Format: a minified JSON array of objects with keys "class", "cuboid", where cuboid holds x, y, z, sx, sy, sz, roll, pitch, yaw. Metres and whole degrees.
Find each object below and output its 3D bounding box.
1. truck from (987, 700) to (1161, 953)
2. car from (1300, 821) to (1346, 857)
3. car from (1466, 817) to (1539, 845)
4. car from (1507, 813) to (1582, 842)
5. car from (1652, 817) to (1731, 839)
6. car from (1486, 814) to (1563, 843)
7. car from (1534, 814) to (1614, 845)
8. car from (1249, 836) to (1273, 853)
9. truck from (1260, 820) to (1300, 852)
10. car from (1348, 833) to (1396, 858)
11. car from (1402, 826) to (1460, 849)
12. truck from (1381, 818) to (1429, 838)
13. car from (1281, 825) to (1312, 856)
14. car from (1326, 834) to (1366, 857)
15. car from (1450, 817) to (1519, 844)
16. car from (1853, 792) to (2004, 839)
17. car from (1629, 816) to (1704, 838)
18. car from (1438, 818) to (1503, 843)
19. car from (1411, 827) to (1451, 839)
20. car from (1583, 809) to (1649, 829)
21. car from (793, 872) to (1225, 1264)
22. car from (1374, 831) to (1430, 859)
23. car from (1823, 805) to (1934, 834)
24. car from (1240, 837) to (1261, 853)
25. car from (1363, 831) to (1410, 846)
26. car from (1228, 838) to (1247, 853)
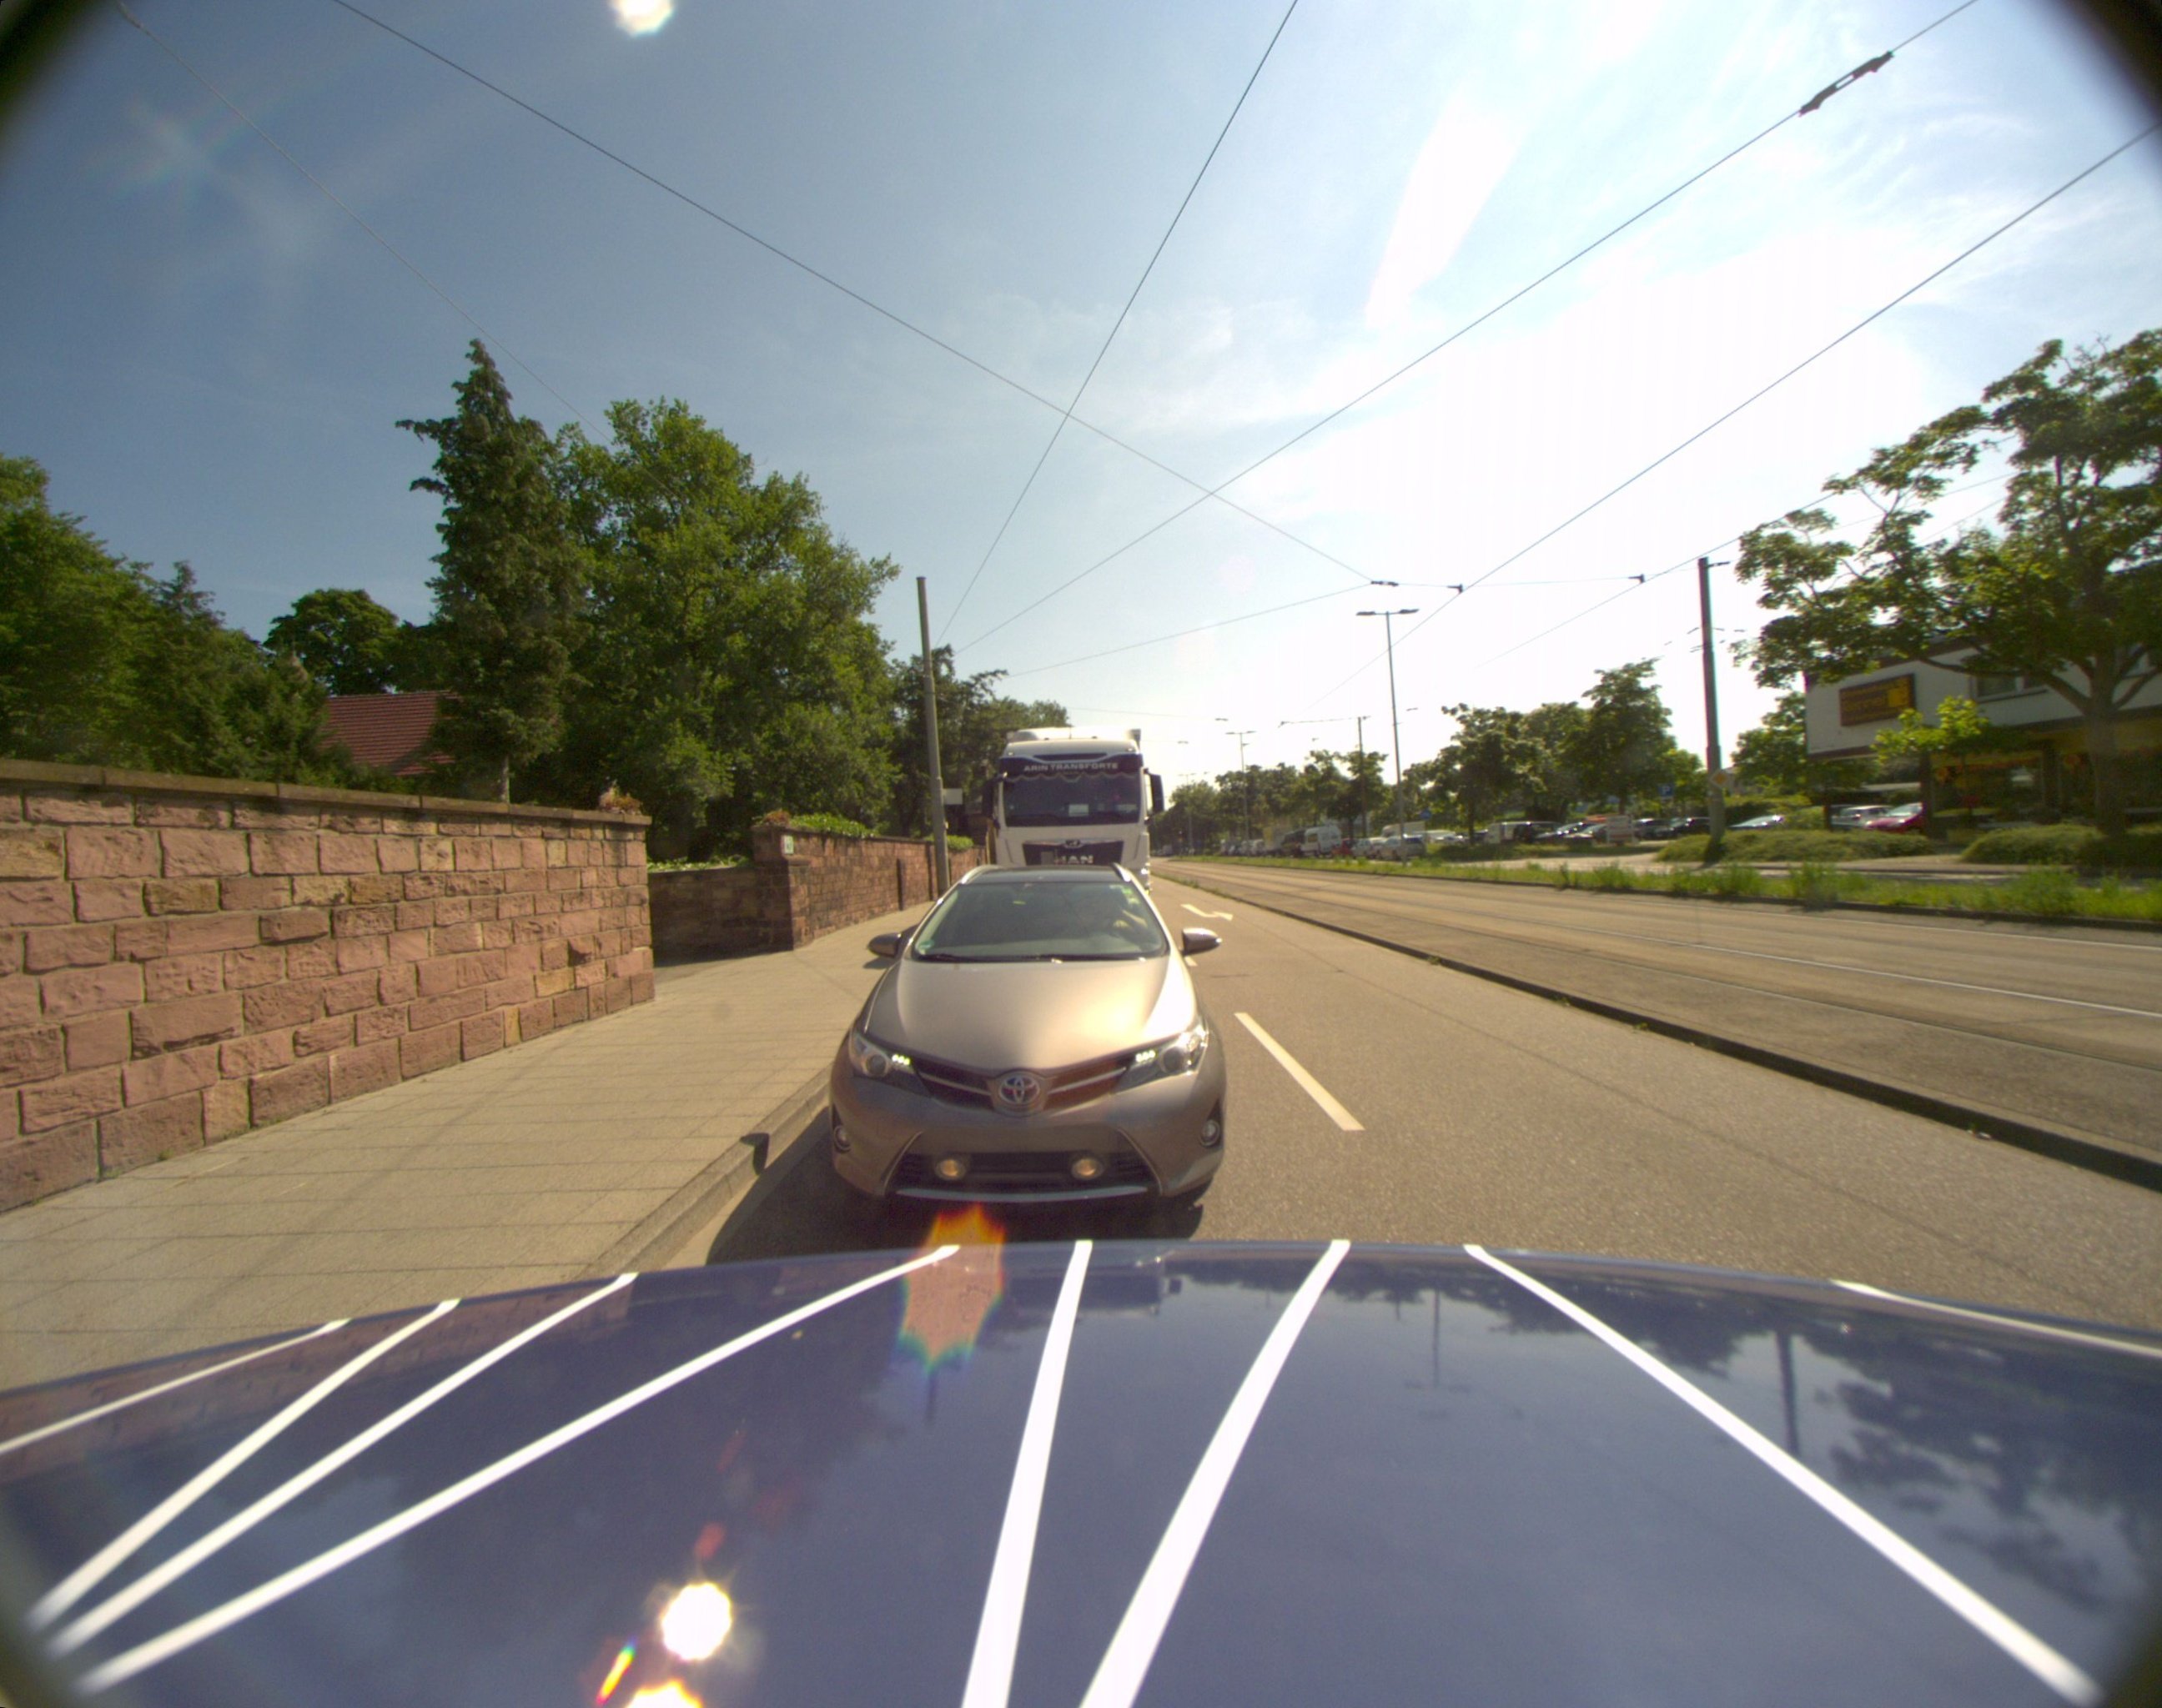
[{"class":"truck","cuboid":[-0.017,-0.483,16.596,2.628,3.906,9.285,-2,1,1]},{"class":"car","cuboid":[20.285,-1.224,63.989,2.062,2.638,5.203,-6,0,1]},{"class":"car","cuboid":[30.536,-1.681,55.138,4.117,1.728,1.990,-3,1,-2]},{"class":"car","cuboid":[30.582,-1.714,50.200,3.810,1.625,1.676,-3,1,2]},{"class":"car","cuboid":[44.054,-1.872,54.891,4.252,1.327,1.676,-3,0,2]},{"class":"car","cuboid":[30.696,-1.769,52.667,4.117,1.728,1.990,-3,1,-2]},{"class":"car","cuboid":[30.522,-1.486,47.116,3.810,1.625,1.676,-3,1,2]},{"class":"car","cuboid":[20.690,-1.052,87.371,1.502,1.793,4.633,-6,0,1]},{"class":"truck","cuboid":[20.580,-1.847,78.790,2.508,2.917,5.903,-6,0,2]},{"class":"car","cuboid":[20.464,-0.610,53.616,1.675,1.524,4.256,-6,0,1]},{"class":"car","cuboid":[31.172,-1.398,67.879,2.594,1.800,5.741,-3,0,2]},{"class":"truck","cuboid":[44.831,-3.629,105.150,5.652,2.367,1.990,-3,1,-2]},{"class":"car","cuboid":[19.933,-1.214,70.413,1.502,2.609,4.007,-6,0,1]},{"class":"car","cuboid":[20.478,-0.667,58.754,1.675,1.524,3.793,-6,0,1]},{"class":"car","cuboid":[30.590,-1.758,57.644,4.117,1.728,1.990,-3,1,-2]},{"class":"car","cuboid":[35.263,-1.580,31.681,4.252,1.595,1.676,-3,1,2]},{"class":"car","cuboid":[44.144,-2.022,57.379,4.252,1.327,1.676,-3,0,2]},{"class":"car","cuboid":[31.233,-1.876,60.976,4.117,1.728,1.990,-3,1,-2]},{"class":"car","cuboid":[43.739,-2.620,95.037,4.253,1.327,1.676,-3,0,1]},{"class":"car","cuboid":[43.993,-2.877,62.512,4.254,1.327,1.676,-3,0,-1]},{"class":"car","cuboid":[-0.261,0.893,4.987,1.654,1.374,4.000,-2,0,1]},{"class":"car","cuboid":[20.300,-0.548,48.279,1.675,1.524,4.256,-6,0,1]},{"class":"car","cuboid":[44.303,-1.893,42.265,4.252,1.327,1.676,-3,0,2]},{"class":"car","cuboid":[20.974,-1.123,94.219,1.502,1.835,4.059,-6,0,0]},{"class":"car","cuboid":[32.320,-1.591,80.395,4.253,1.327,1.676,-3,0,1]},{"class":"car","cuboid":[20.627,-1.087,100.072,1.502,1.775,3.687,-6,0,0]}]
